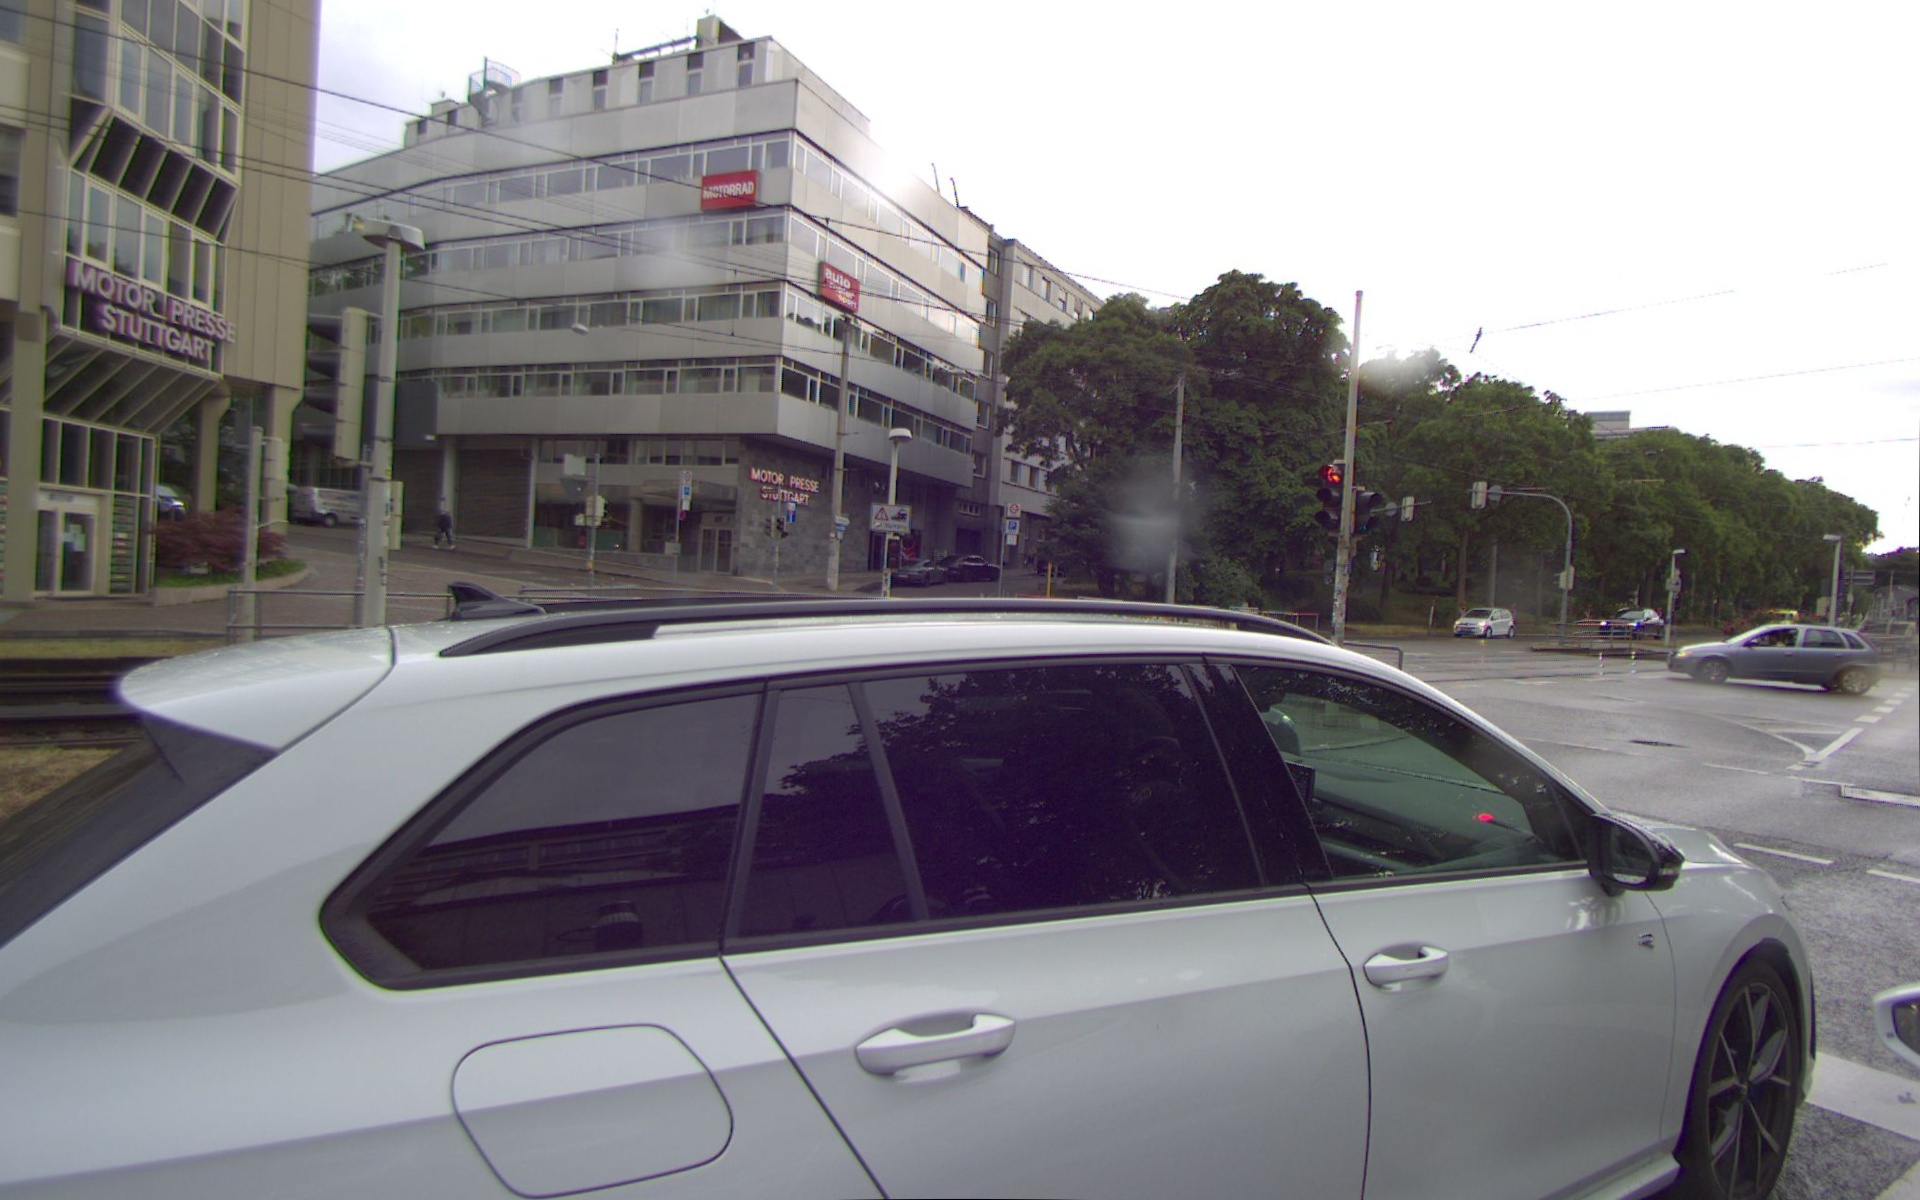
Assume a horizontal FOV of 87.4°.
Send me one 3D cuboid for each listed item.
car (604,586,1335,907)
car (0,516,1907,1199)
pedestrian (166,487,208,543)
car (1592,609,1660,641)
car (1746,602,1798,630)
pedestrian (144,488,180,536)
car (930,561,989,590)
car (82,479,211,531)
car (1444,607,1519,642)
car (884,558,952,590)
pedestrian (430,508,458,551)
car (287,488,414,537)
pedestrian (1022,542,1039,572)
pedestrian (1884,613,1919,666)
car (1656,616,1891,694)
[{"bbox_3d":[0.190,0.721,6.482,4.423,1.461,1.787,2,0,-30],"label":"car"},{"bbox_3d":[0.293,0.704,2.469,4.423,1.461,1.787,2,0,-30],"label":"car"},{"bbox_3d":[-26.532,-2.919,34.483,0.746,1.811,0.830,5,2,25],"label":"pedestrian"},{"bbox_3d":[35.900,1.334,54.131,3.648,1.566,1.905,2,1,-37],"label":"car"},{"bbox_3d":[60.374,1.210,74.670,4.525,1.875,1.905,2,1,-38],"label":"car"},{"bbox_3d":[-28.807,-3.183,36.267,0.746,1.661,0.719,5,2,25],"label":"pedestrian"},{"bbox_3d":[0.025,-1.350,55.580,1.842,1.450,3.998,3,2,22],"label":"car"},{"bbox_3d":[-33.015,-3.860,40.765,4.794,1.601,1.999,7,3,23],"label":"car"},{"bbox_3d":[26.057,1.215,50.181,3.648,1.566,1.905,2,1,-37],"label":"car"},{"bbox_3d":[-2.065,-1.291,50.606,1.842,1.450,4.091,3,2,22],"label":"car"},{"bbox_3d":[-23.656,-3.243,46.014,0.833,1.886,0.719,5,2,25],"label":"pedestrian"},{"bbox_3d":[-32.037,-4.538,52.991,1.964,2.040,5.403,2,0,30],"label":"car"},{"bbox_3d":[4.684,-2.856,66.708,0.707,1.886,0.758,5,4,31],"label":"pedestrian"},{"bbox_3d":[34.183,1.429,36.329,0.863,1.826,0.860,1,2,-33],"label":"pedestrian"},{"bbox_3d":[18.282,1.189,22.804,3.800,1.375,1.630,4,2,27],"label":"car"}]
